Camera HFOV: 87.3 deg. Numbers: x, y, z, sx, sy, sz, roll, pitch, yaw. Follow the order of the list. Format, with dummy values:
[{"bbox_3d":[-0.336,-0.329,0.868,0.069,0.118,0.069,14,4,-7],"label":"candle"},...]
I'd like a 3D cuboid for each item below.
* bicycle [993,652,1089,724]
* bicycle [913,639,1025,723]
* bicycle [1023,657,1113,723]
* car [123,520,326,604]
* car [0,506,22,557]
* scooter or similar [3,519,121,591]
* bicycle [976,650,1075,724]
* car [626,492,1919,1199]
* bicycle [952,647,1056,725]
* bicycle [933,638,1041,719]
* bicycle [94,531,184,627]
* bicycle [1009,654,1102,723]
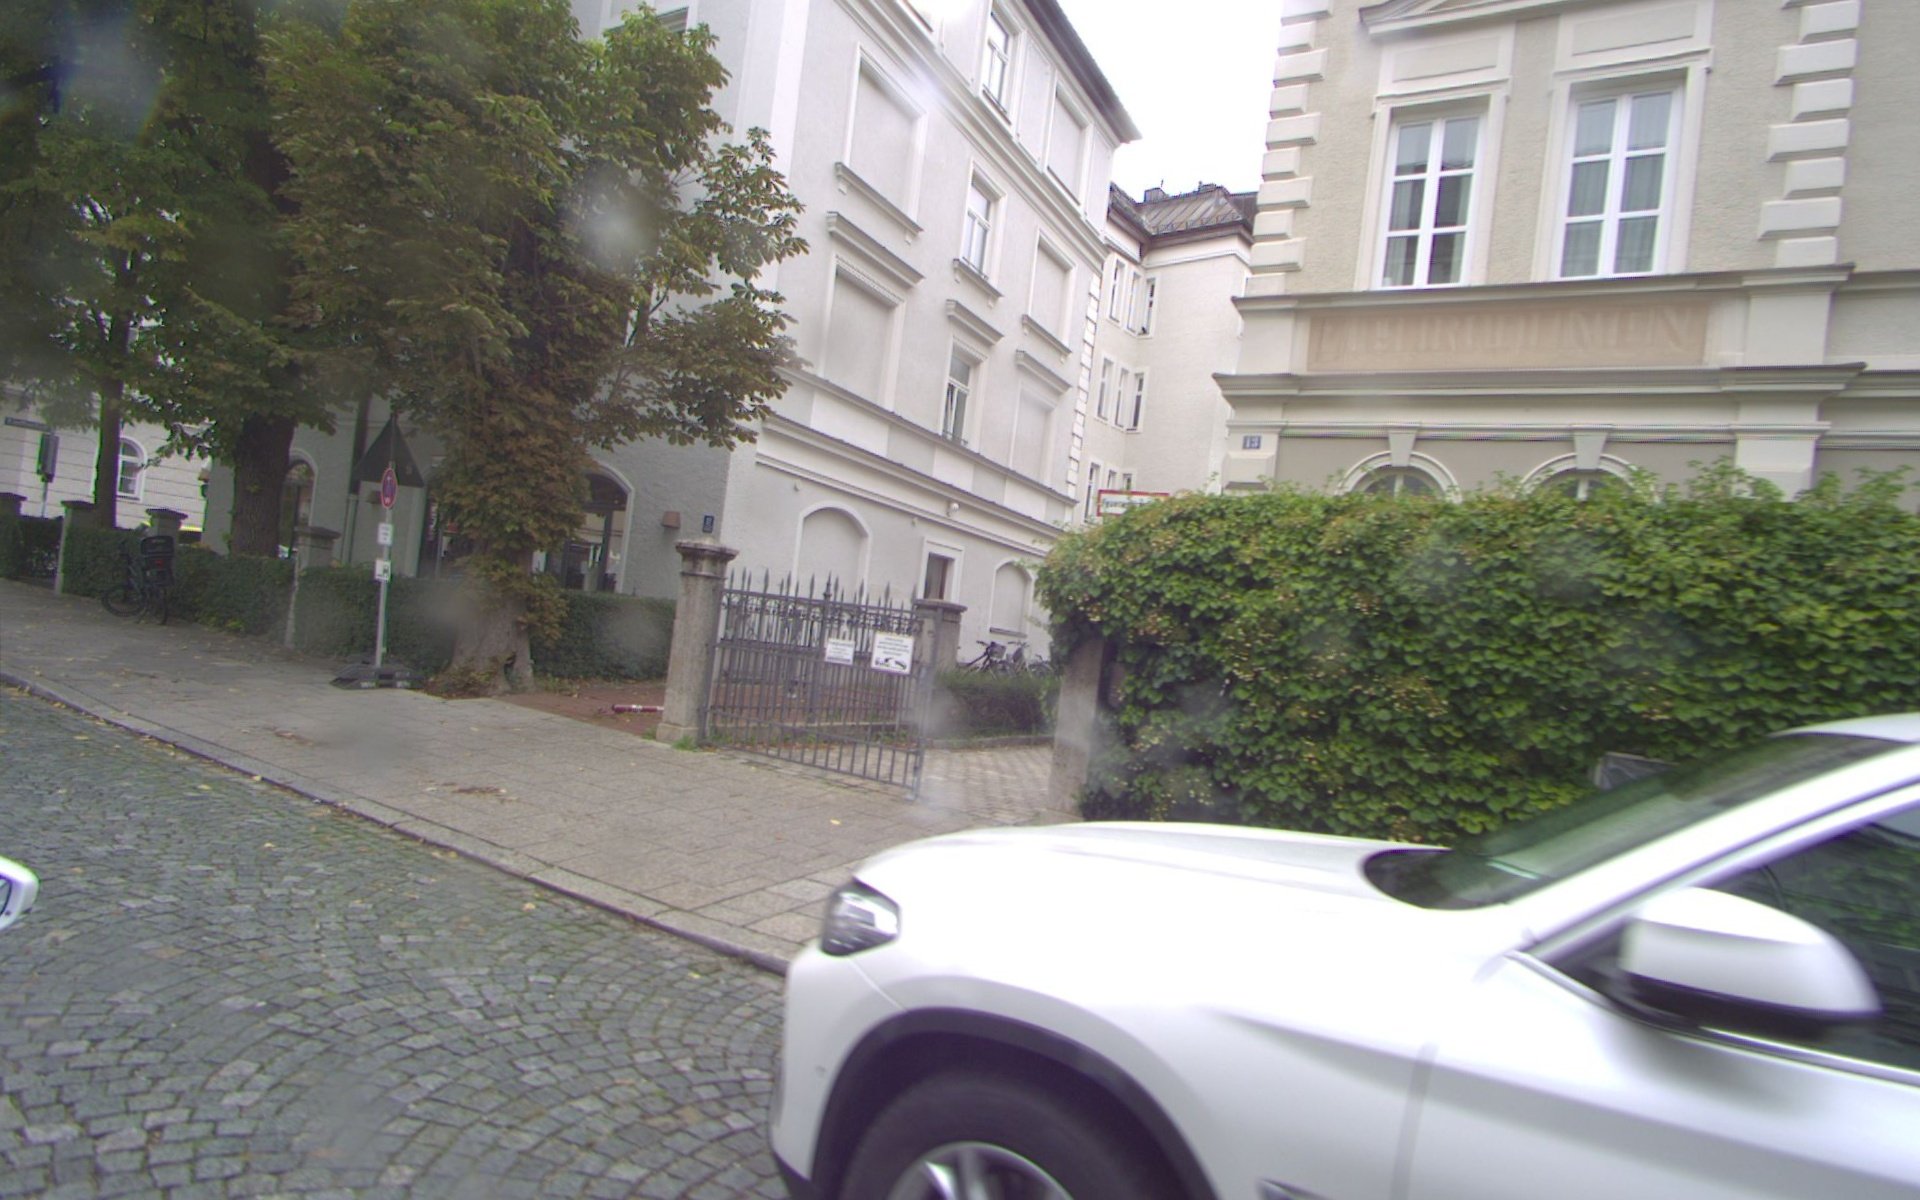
[{"bbox_3d":[1.526,1.649,18.963,1.644,1.114,0.421,6,-2,26],"label":"bicycle"},{"bbox_3d":[0.136,1.289,16.179,1.644,1.114,0.421,6,-2,26],"label":"bicycle"},{"bbox_3d":[2.172,1.807,20.323,1.644,1.114,0.421,6,-2,26],"label":"bicycle"},{"bbox_3d":[-20.000,-1.012,27.483,1.879,1.615,4.072,6,-3,41],"label":"car"},{"bbox_3d":[-28.839,-2.210,27.443,1.734,1.373,4.469,7,-2,37],"label":"car"},{"bbox_3d":[-17.559,-0.870,19.721,1.594,1.186,0.401,8,-1,-37],"label":"scooter or similar"},{"bbox_3d":[1.184,1.582,18.347,1.644,1.114,0.421,6,-2,26],"label":"bicycle"},{"bbox_3d":[1.774,0.897,1.846,4.557,1.705,1.925,6,-2,31],"label":"car"},{"bbox_3d":[0.758,1.483,17.479,1.644,1.114,0.421,7,-1,26],"label":"bicycle"},{"bbox_3d":[0.444,1.303,16.772,1.644,1.114,0.421,6,-2,26],"label":"bicycle"},{"bbox_3d":[-11.600,-0.308,14.198,1.702,1.215,0.427,6,4,31],"label":"bicycle"},{"bbox_3d":[1.859,1.717,19.633,1.644,1.114,0.421,6,-2,26],"label":"bicycle"}]
